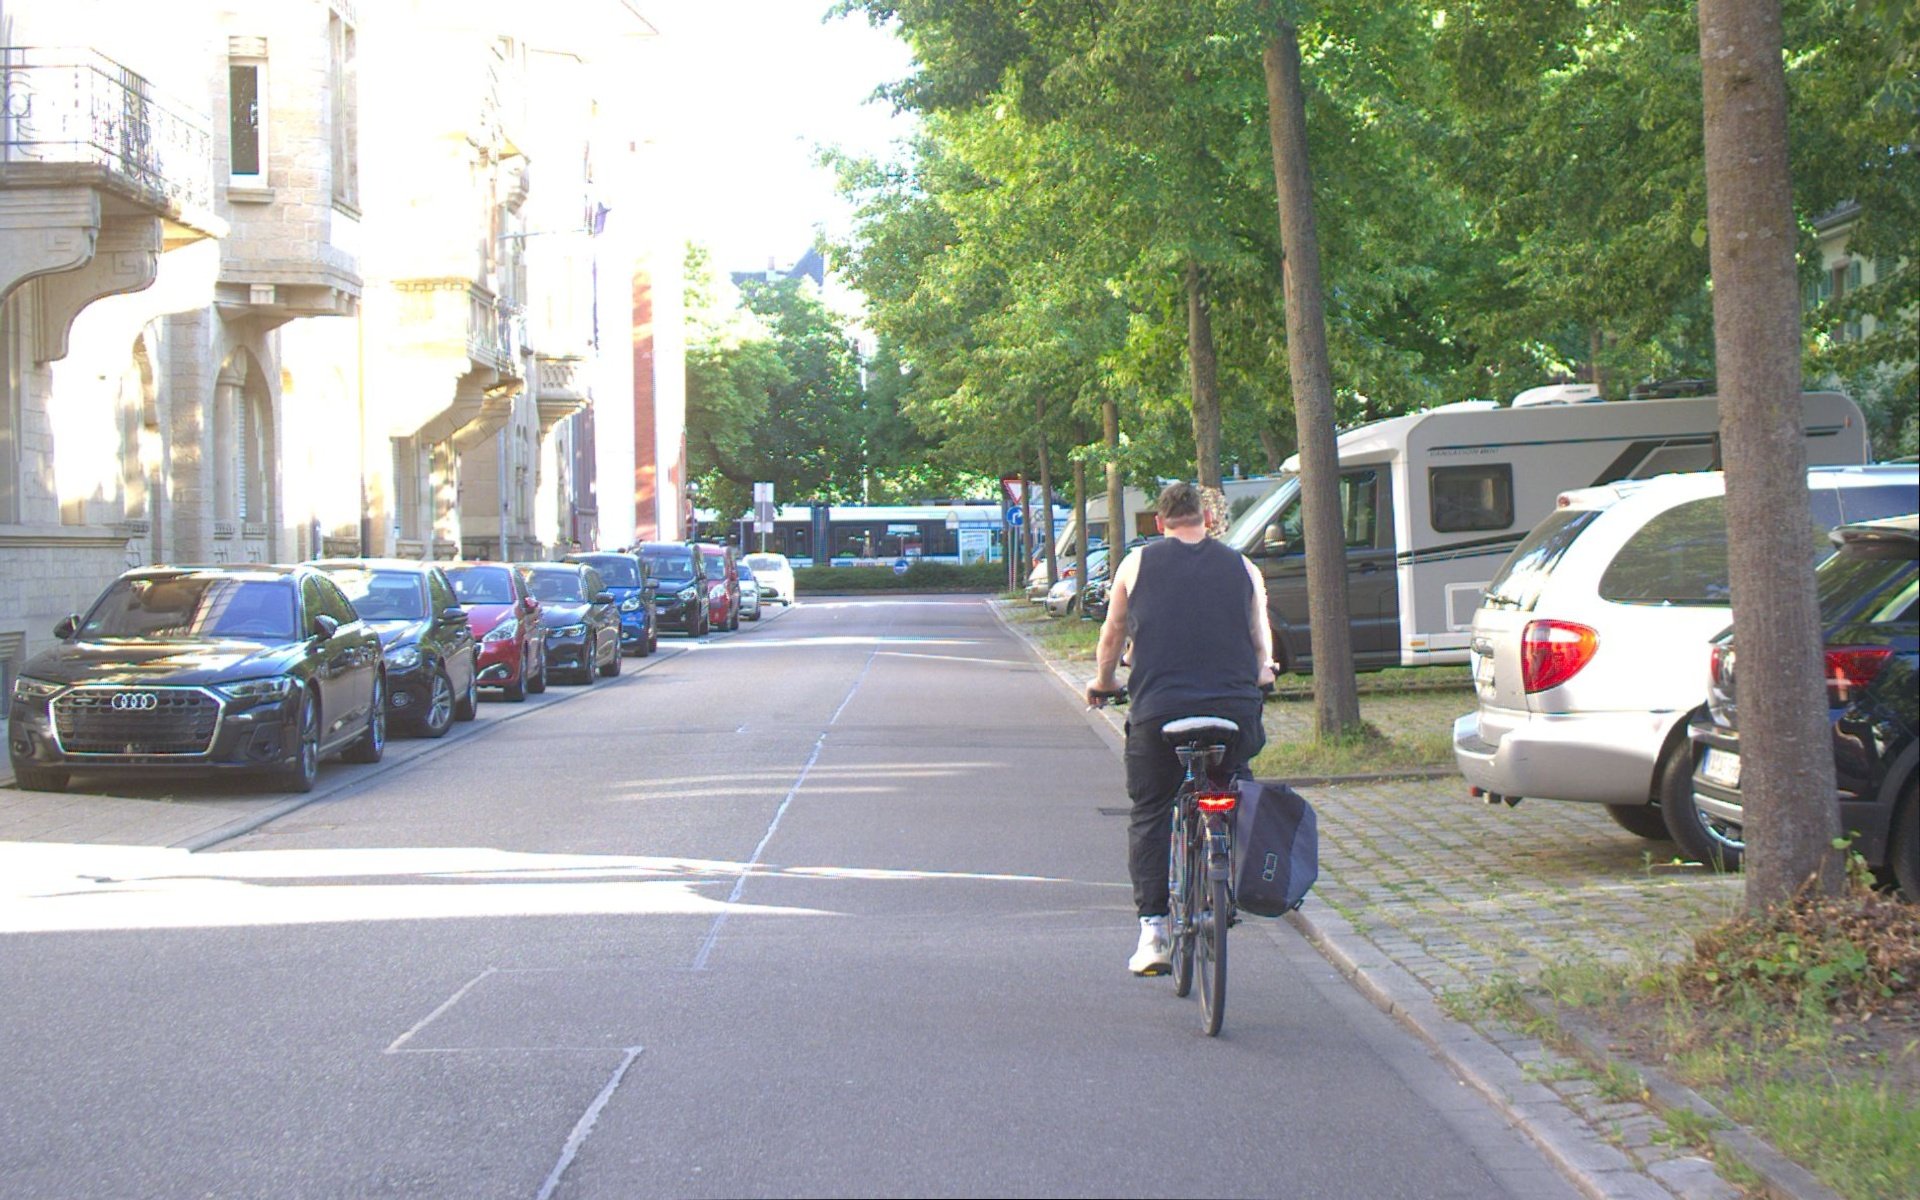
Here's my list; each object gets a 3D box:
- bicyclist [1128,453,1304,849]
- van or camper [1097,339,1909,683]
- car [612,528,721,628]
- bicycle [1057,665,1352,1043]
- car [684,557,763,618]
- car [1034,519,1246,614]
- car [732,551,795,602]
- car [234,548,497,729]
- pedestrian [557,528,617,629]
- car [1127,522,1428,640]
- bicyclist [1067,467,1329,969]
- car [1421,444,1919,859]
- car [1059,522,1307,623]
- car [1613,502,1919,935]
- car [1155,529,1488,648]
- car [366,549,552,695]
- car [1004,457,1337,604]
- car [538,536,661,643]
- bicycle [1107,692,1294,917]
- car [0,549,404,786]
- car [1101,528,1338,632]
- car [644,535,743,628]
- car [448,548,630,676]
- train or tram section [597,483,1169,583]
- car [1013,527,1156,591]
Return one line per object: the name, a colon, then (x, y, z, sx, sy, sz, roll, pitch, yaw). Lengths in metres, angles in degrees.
bicyclist: (1.075, 0.202, 14.629, 0.689, 1.621, 0.998, 1, 1, 2)
van or camper: (4.963, -0.824, 32.413, 7.147, 2.638, 2.464, -4, 1, 2)
car: (-5.516, -0.443, 65.002, 1.640, 1.777, 4.354, 1, 1, 0)
bicycle: (0.744, 0.763, 11.040, 0.737, 1.050, 1.956, 1, 0, -1)
car: (-5.704, -0.319, 83.232, 1.583, 1.339, 4.131, 1, 1, 0)
car: (3.640, -0.679, 69.983, 4.082, 1.644, 1.641, -4, 1, -2)
car: (-5.726, -0.702, 100.597, 1.583, 1.371, 4.131, 1, 1, 0)
car: (-5.082, 0.300, 29.849, 1.696, 1.448, 4.028, -1, 0, -2)
pedestrian: (-6.503, -0.369, 59.995, 0.938, 1.736, 0.735, 1, 0, 0)
car: (4.573, -0.260, 49.957, 4.223, 1.594, 1.691, -1, -1, 2)
bicyclist: (0.751, 0.365, 11.089, 0.730, 1.542, 0.884, 1, 0, -1)
car: (4.561, 0.143, 15.721, 4.619, 1.704, 1.833, -3, 1, 1)
car: (3.790, -0.457, 58.920, 4.139, 1.594, 1.702, -1, -1, 2)
car: (4.730, 0.310, 13.154, 4.068, 1.471, 1.694, -4, 2, 1)
car: (4.640, -0.158, 44.457, 4.032, 1.449, 1.691, -1, 1, -4)
car: (-5.351, 0.197, 37.082, 1.628, 1.448, 3.838, 0, 1, -3)
car: (4.685, -1.559, 77.310, 7.146, 2.968, 2.465, -2, 1, -3)
car: (-5.448, -0.176, 52.152, 1.595, 1.484, 2.737, 3, 1, -2)
bicycle: (0.996, 0.837, 14.590, 0.633, 0.796, 1.833, -1, 1, 0)
car: (-5.145, 0.395, 23.857, 1.811, 1.422, 4.898, 2, 1, -1)
car: (4.237, -0.313, 56.613, 3.773, 1.594, 1.691, -1, -1, 2)
car: (-5.550, -0.407, 71.981, 1.689, 1.819, 4.273, 1, 1, 0)
car: (-5.194, 0.112, 42.886, 1.675, 1.425, 4.550, 1, 1, 0)
train or tram section: (-2.988, -2.703, 143.042, 23.799, 3.696, 4.287, 1, 0, -22)
car: (3.589, -1.181, 99.547, 3.986, 1.797, 1.834, 1, 0, -2)
